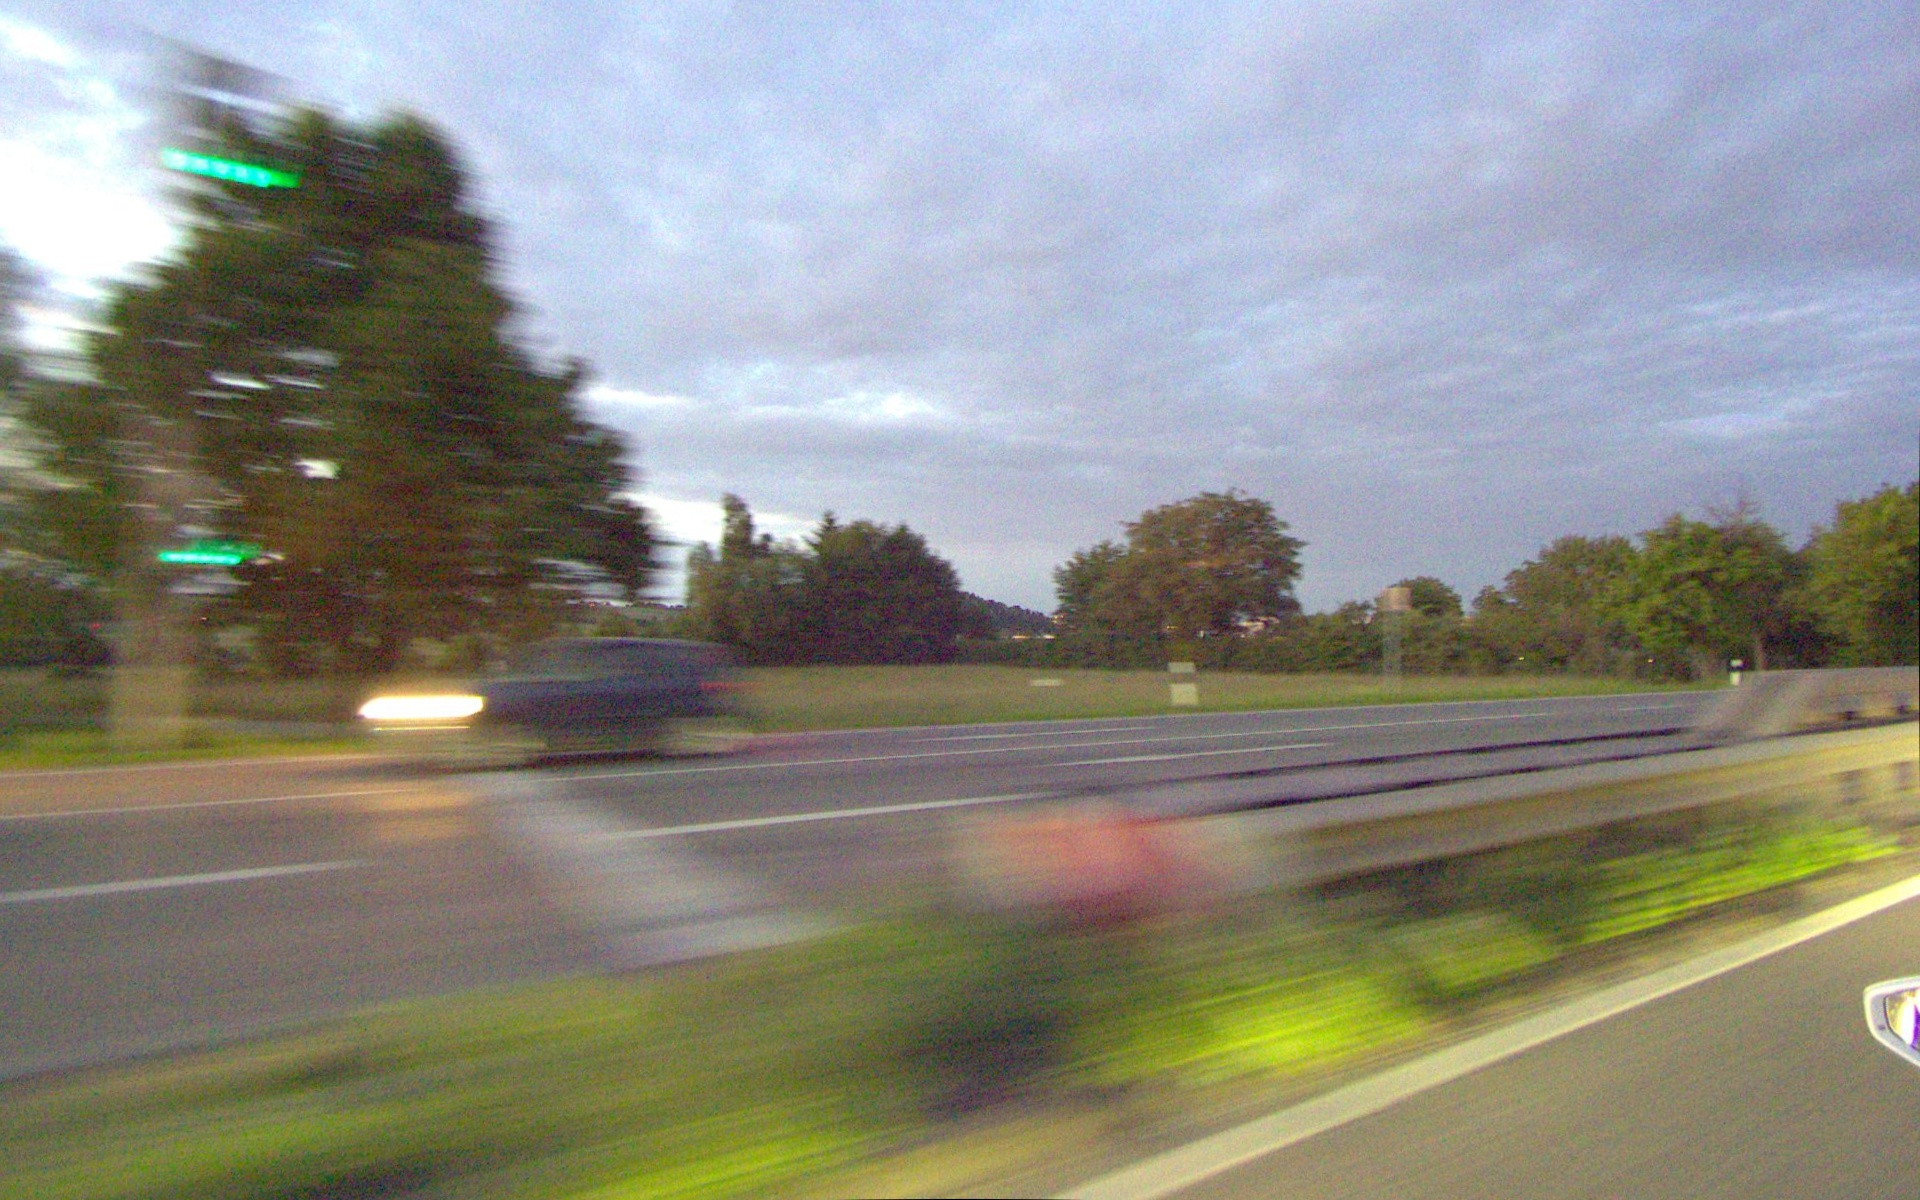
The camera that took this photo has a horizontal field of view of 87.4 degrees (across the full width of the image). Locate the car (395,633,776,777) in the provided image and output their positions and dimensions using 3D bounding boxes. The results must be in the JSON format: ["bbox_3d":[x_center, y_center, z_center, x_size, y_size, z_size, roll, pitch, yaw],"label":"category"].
[{"bbox_3d":[-4.398,1.167,12.006,3.987,1.403,1.642,3,-1,-33],"label":"car"}]
